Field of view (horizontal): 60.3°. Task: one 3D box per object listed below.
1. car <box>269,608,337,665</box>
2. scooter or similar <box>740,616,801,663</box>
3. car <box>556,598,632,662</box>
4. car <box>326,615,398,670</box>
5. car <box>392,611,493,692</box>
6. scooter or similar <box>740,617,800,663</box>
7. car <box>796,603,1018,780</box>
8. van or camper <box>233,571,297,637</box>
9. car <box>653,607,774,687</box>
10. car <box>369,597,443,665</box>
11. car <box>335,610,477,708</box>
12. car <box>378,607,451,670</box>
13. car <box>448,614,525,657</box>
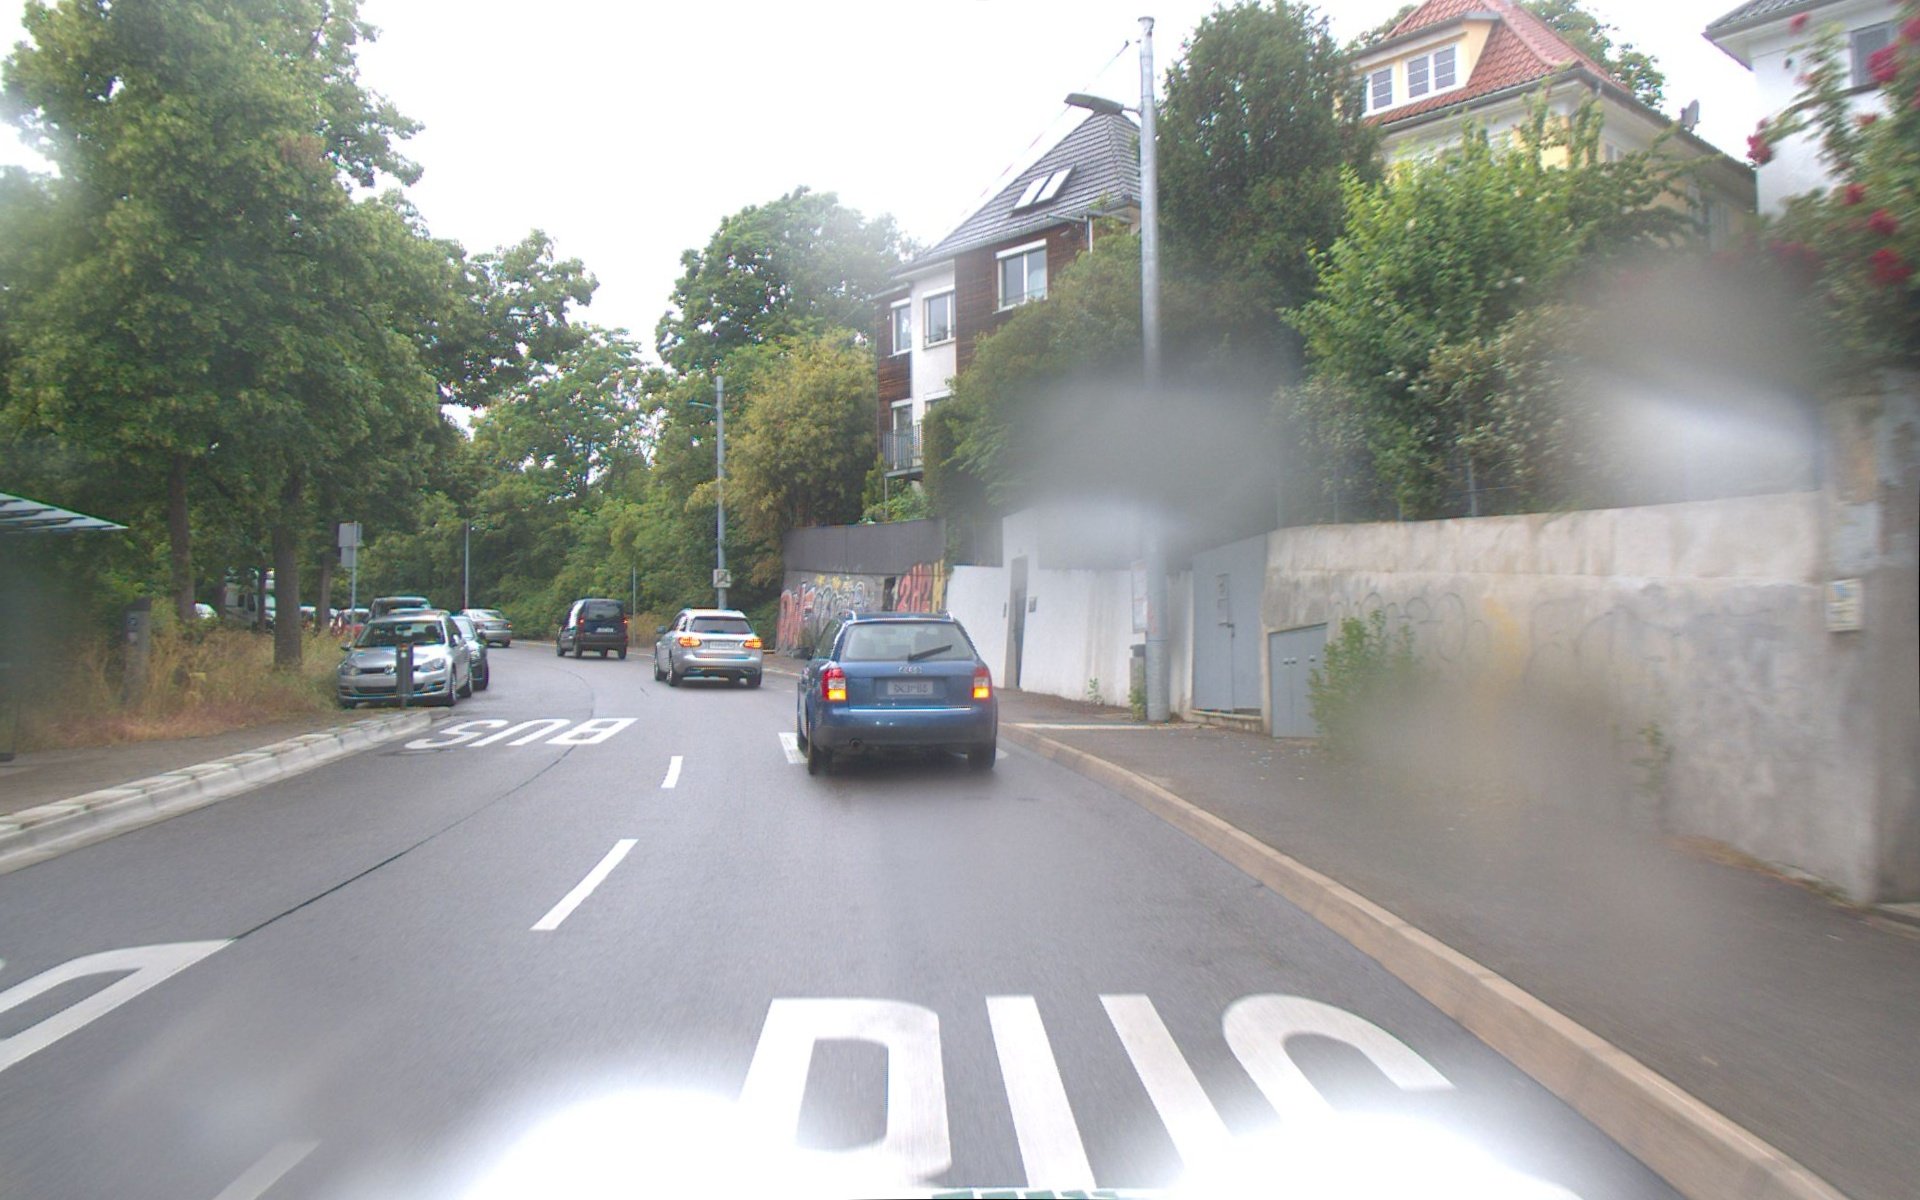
[{"bbox_3d":[-24.752,1.366,62.238,1.971,2.049,3.963,-1,-1,-28],"label":"car"},{"bbox_3d":[-6.048,1.252,52.656,1.801,1.338,0.598,5,-5,-11],"label":"scooter or similar"},{"bbox_3d":[-11.737,0.946,52.868,1.706,1.927,4.027,-1,-1,-22],"label":"car"},{"bbox_3d":[-20.507,1.437,56.643,1.968,1.758,3.968,-2,0,-25],"label":"car"},{"bbox_3d":[-10.105,0.975,32.518,1.646,1.452,3.984,-1,0,-14],"label":"car"},{"bbox_3d":[-6.132,1.299,53.475,1.801,1.338,0.598,5,-5,-11],"label":"scooter or similar"},{"bbox_3d":[-0.639,0.804,16.016,1.744,1.464,3.993,-1,-1,-8],"label":"car"},{"bbox_3d":[-29.650,0.196,70.508,1.764,2.698,3.942,-1,-1,-34],"label":"van or camper"},{"bbox_3d":[-4.954,0.915,32.754,1.877,1.413,4.333,3,-2,-15],"label":"car"},{"bbox_3d":[-16.478,0.910,49.109,1.811,1.876,3.875,-1,-1,-22],"label":"car"},{"bbox_3d":[-9.053,0.919,27.318,1.643,1.452,3.990,-1,0,-10],"label":"car"},{"bbox_3d":[-14.703,1.007,44.480,1.650,1.579,3.877,-1,0,-21],"label":"car"},{"bbox_3d":[-18.472,1.388,64.444,1.751,1.597,3.981,-1,-1,-34],"label":"car"}]
